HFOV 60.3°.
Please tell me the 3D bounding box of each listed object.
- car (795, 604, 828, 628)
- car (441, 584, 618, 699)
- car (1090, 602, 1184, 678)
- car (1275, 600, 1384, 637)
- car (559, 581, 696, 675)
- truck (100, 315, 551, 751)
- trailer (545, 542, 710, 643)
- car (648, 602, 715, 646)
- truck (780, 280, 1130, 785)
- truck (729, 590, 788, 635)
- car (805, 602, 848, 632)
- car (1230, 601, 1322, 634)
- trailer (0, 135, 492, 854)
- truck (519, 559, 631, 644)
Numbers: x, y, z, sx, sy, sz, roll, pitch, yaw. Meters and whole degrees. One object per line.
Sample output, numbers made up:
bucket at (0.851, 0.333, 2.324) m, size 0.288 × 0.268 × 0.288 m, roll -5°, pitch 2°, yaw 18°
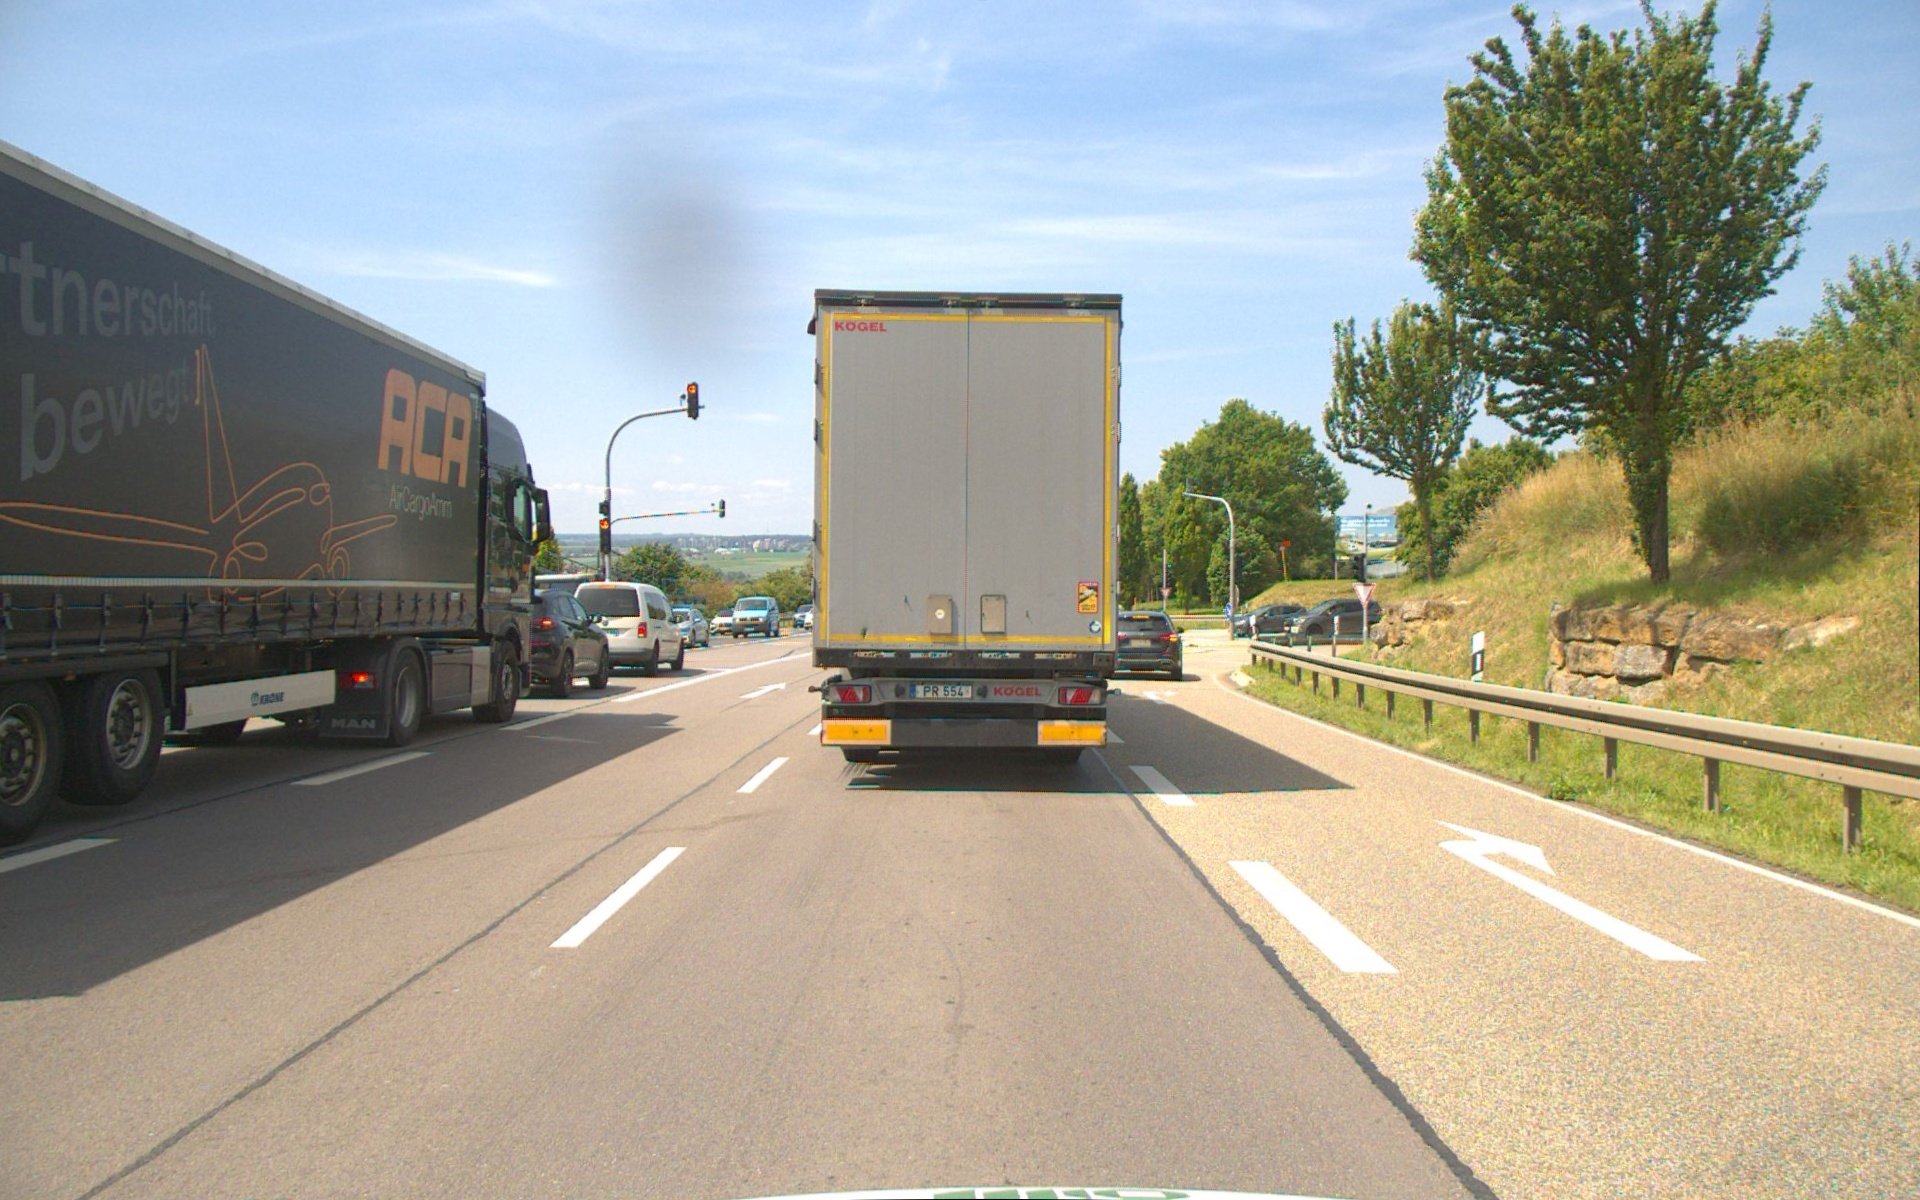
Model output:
car at (-9.600, 1.043, 107.280) m, size 1.736 × 1.459 × 4.000 m, roll -1°, pitch -1°, yaw 1°
car at (-6.857, 0.618, 26.808) m, size 1.818 × 1.686 × 4.347 m, roll 1°, pitch 0°, yaw -2°
car at (3.880, 0.865, 36.841) m, size 1.709 × 1.559 × 4.299 m, roll 1°, pitch -1°, yaw 1°
car at (15.970, 0.794, 71.585) m, size 4.280 × 1.537 × 1.712 m, roll 0°, pitch -1°, yaw -11°
car at (-6.902, 0.555, 34.819) m, size 1.731 × 1.830 × 4.753 m, roll 1°, pitch 0°, yaw 2°
truck at (-6.727, -0.620, 18.607) m, size 2.726 × 4.083 × 5.970 m, roll 1°, pitch 0°, yaw 0°
trailer at (-14.181, -0.148, 73.053) m, size 2.584 × 3.829 × 19.803 m, roll 0°, pitch -1°, yaw 2°
car at (-10.310, 0.883, 61.464) m, size 1.701 × 1.555 × 4.000 m, roll 1°, pitch -1°, yaw 1°
truck at (-0.103, -0.499, 18.908) m, size 2.742 × 3.998 × 11.339 m, roll 1°, pitch 0°, yaw -1°
truck at (-10.094, 0.627, 83.072) m, size 1.925 × 2.195 × 4.626 m, roll -1°, pitch -1°, yaw 6°
car at (-7.170, 0.917, 89.048) m, size 1.719 × 1.494 × 4.197 m, roll 4°, pitch -1°, yaw 2°
car at (14.832, 0.815, 77.801) m, size 3.912 × 1.537 × 1.713 m, roll 0°, pitch -1°, yaw -8°
trailer at (-6.706, -0.581, 11.955) m, size 2.726 × 3.982 × 13.785 m, roll 1°, pitch 0°, yaw 0°
truck at (-14.630, 0.085, 63.252) m, size 2.741 × 3.066 × 5.990 m, roll 0°, pitch -1°, yaw 1°
